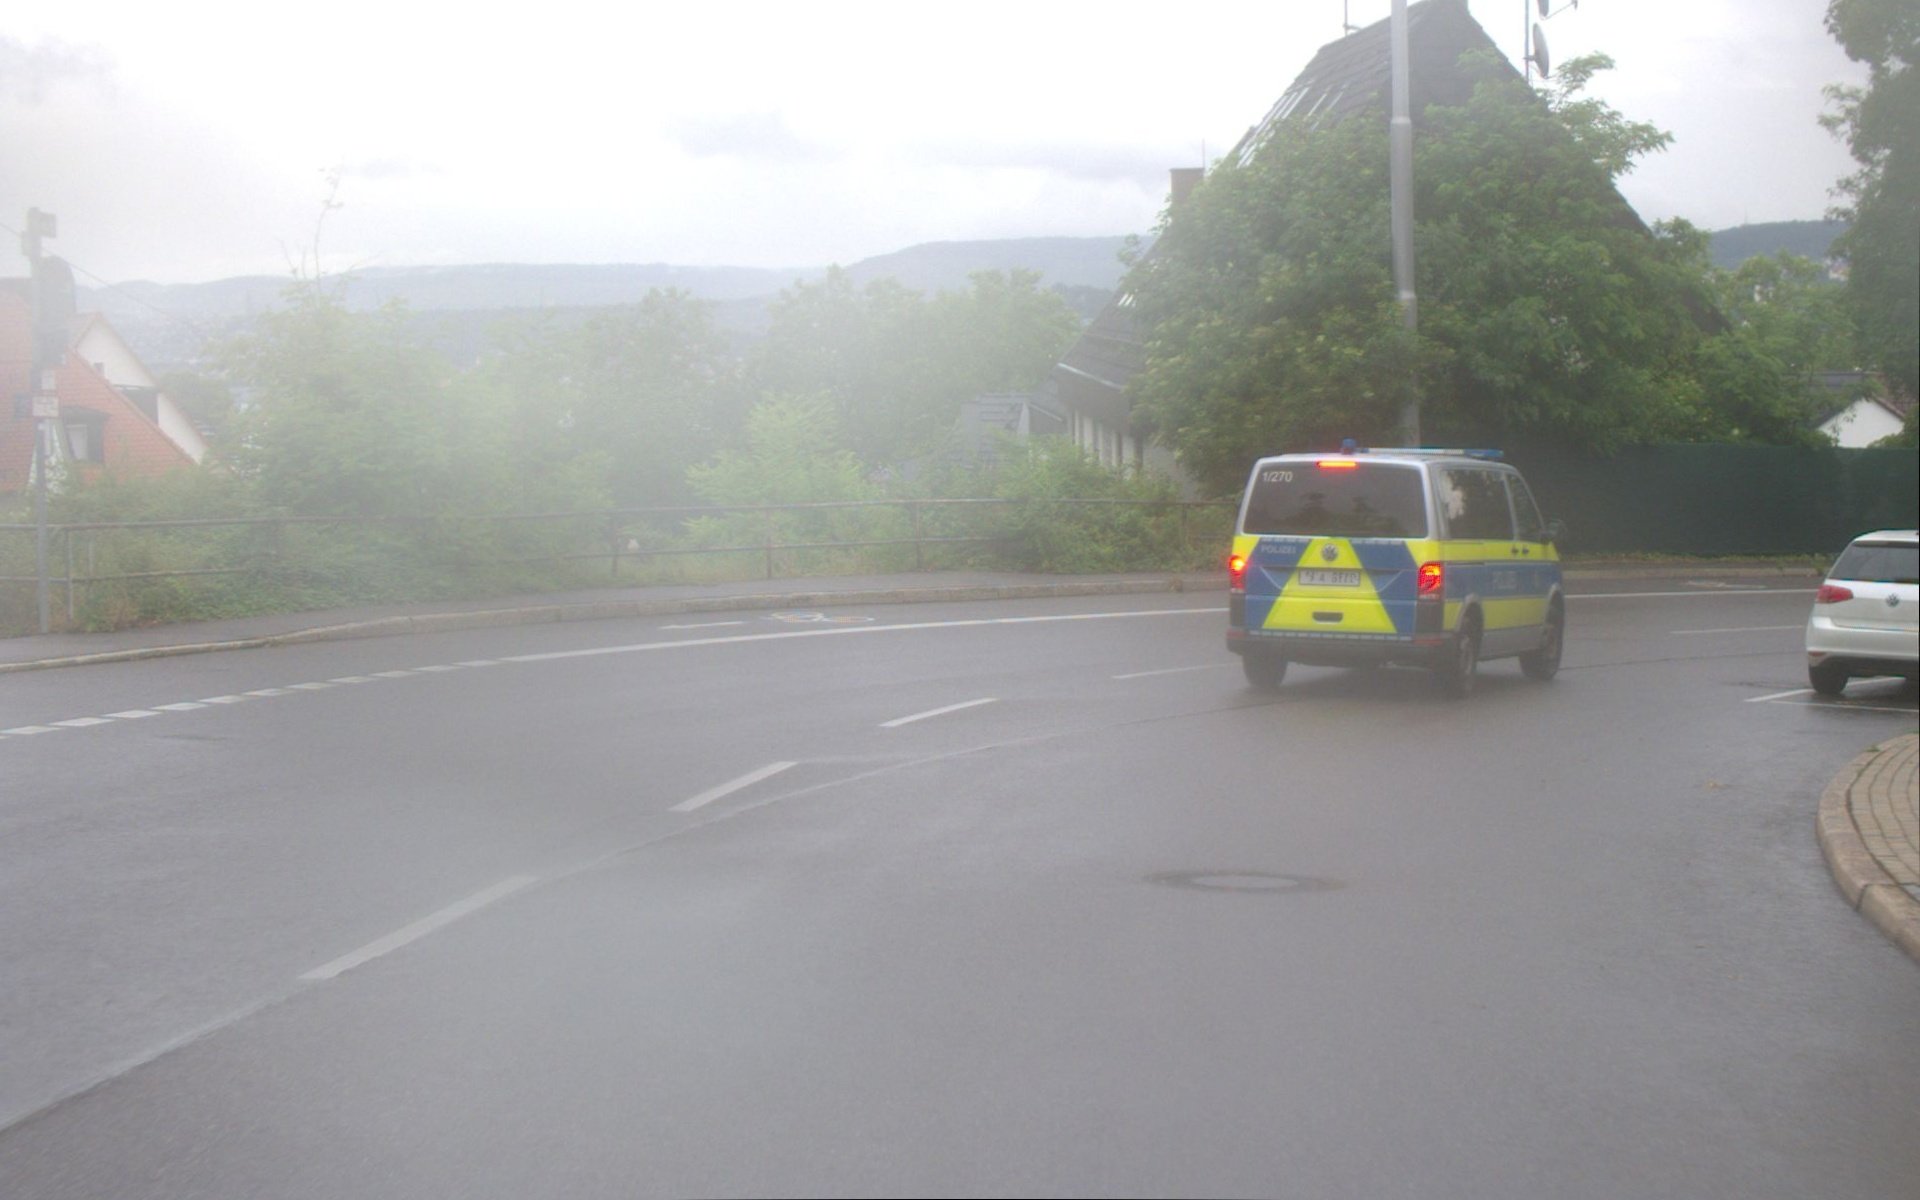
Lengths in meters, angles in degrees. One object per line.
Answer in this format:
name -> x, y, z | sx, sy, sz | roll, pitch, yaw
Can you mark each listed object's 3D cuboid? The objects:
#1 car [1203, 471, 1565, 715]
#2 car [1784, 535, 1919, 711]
car -> 3.684, -0.124, 29.103 | 1.996, 1.887, 4.565 | 1, 2, 21
car -> 8.883, 0.159, 30.566 | 1.793, 1.441, 4.098 | 1, 2, 32
